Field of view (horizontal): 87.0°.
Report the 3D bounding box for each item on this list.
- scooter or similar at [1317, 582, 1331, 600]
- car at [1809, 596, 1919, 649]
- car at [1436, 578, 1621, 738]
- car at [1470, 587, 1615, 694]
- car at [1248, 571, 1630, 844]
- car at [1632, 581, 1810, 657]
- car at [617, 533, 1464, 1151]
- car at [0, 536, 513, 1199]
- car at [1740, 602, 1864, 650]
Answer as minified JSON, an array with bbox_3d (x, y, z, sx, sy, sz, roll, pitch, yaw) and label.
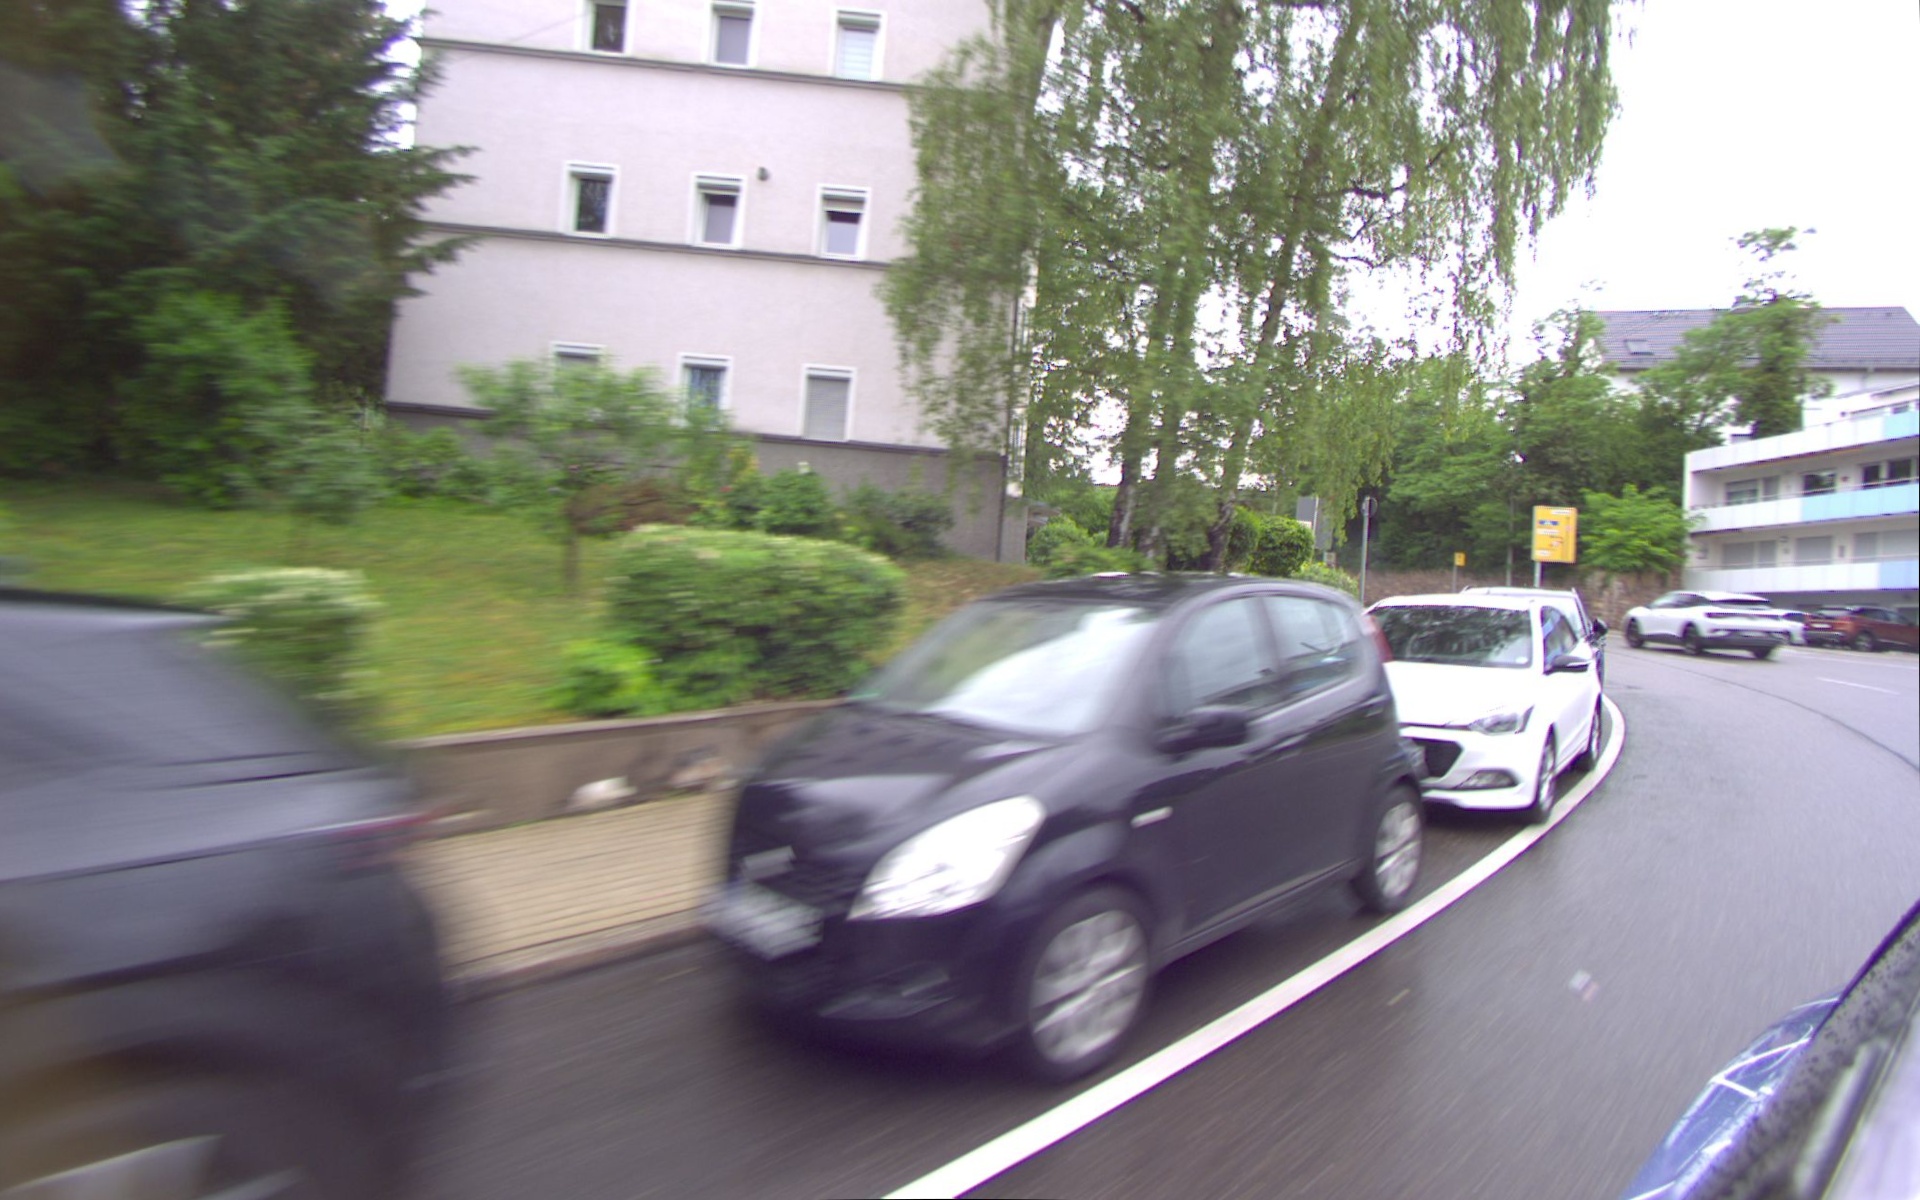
[{"bbox_3d":[24.998,-0.605,69.535,0.367,1.196,1.128,2,3,-8],"label":"scooter or similar"},{"bbox_3d":[32.004,0.805,35.128,3.854,1.569,1.719,4,1,-10],"label":"car"},{"bbox_3d":[6.912,0.546,12.102,1.618,1.538,4.275,2,1,33],"label":"car"},{"bbox_3d":[9.347,0.542,16.512,1.778,1.464,4.068,1,1,26],"label":"car"},{"bbox_3d":[3.906,0.589,7.874,1.724,1.482,3.974,5,3,39],"label":"car"},{"bbox_3d":[19.384,0.413,26.042,1.803,1.626,4.274,4,2,10],"label":"car"},{"bbox_3d":[0.598,0.574,4.336,3.545,1.523,1.622,0,3,-44],"label":"car"},{"bbox_3d":[-2.983,0.597,1.419,3.994,1.453,1.720,1,3,-38],"label":"car"},{"bbox_3d":[32.183,0.985,38.733,3.372,1.463,1.711,5,0,-8],"label":"car"}]
